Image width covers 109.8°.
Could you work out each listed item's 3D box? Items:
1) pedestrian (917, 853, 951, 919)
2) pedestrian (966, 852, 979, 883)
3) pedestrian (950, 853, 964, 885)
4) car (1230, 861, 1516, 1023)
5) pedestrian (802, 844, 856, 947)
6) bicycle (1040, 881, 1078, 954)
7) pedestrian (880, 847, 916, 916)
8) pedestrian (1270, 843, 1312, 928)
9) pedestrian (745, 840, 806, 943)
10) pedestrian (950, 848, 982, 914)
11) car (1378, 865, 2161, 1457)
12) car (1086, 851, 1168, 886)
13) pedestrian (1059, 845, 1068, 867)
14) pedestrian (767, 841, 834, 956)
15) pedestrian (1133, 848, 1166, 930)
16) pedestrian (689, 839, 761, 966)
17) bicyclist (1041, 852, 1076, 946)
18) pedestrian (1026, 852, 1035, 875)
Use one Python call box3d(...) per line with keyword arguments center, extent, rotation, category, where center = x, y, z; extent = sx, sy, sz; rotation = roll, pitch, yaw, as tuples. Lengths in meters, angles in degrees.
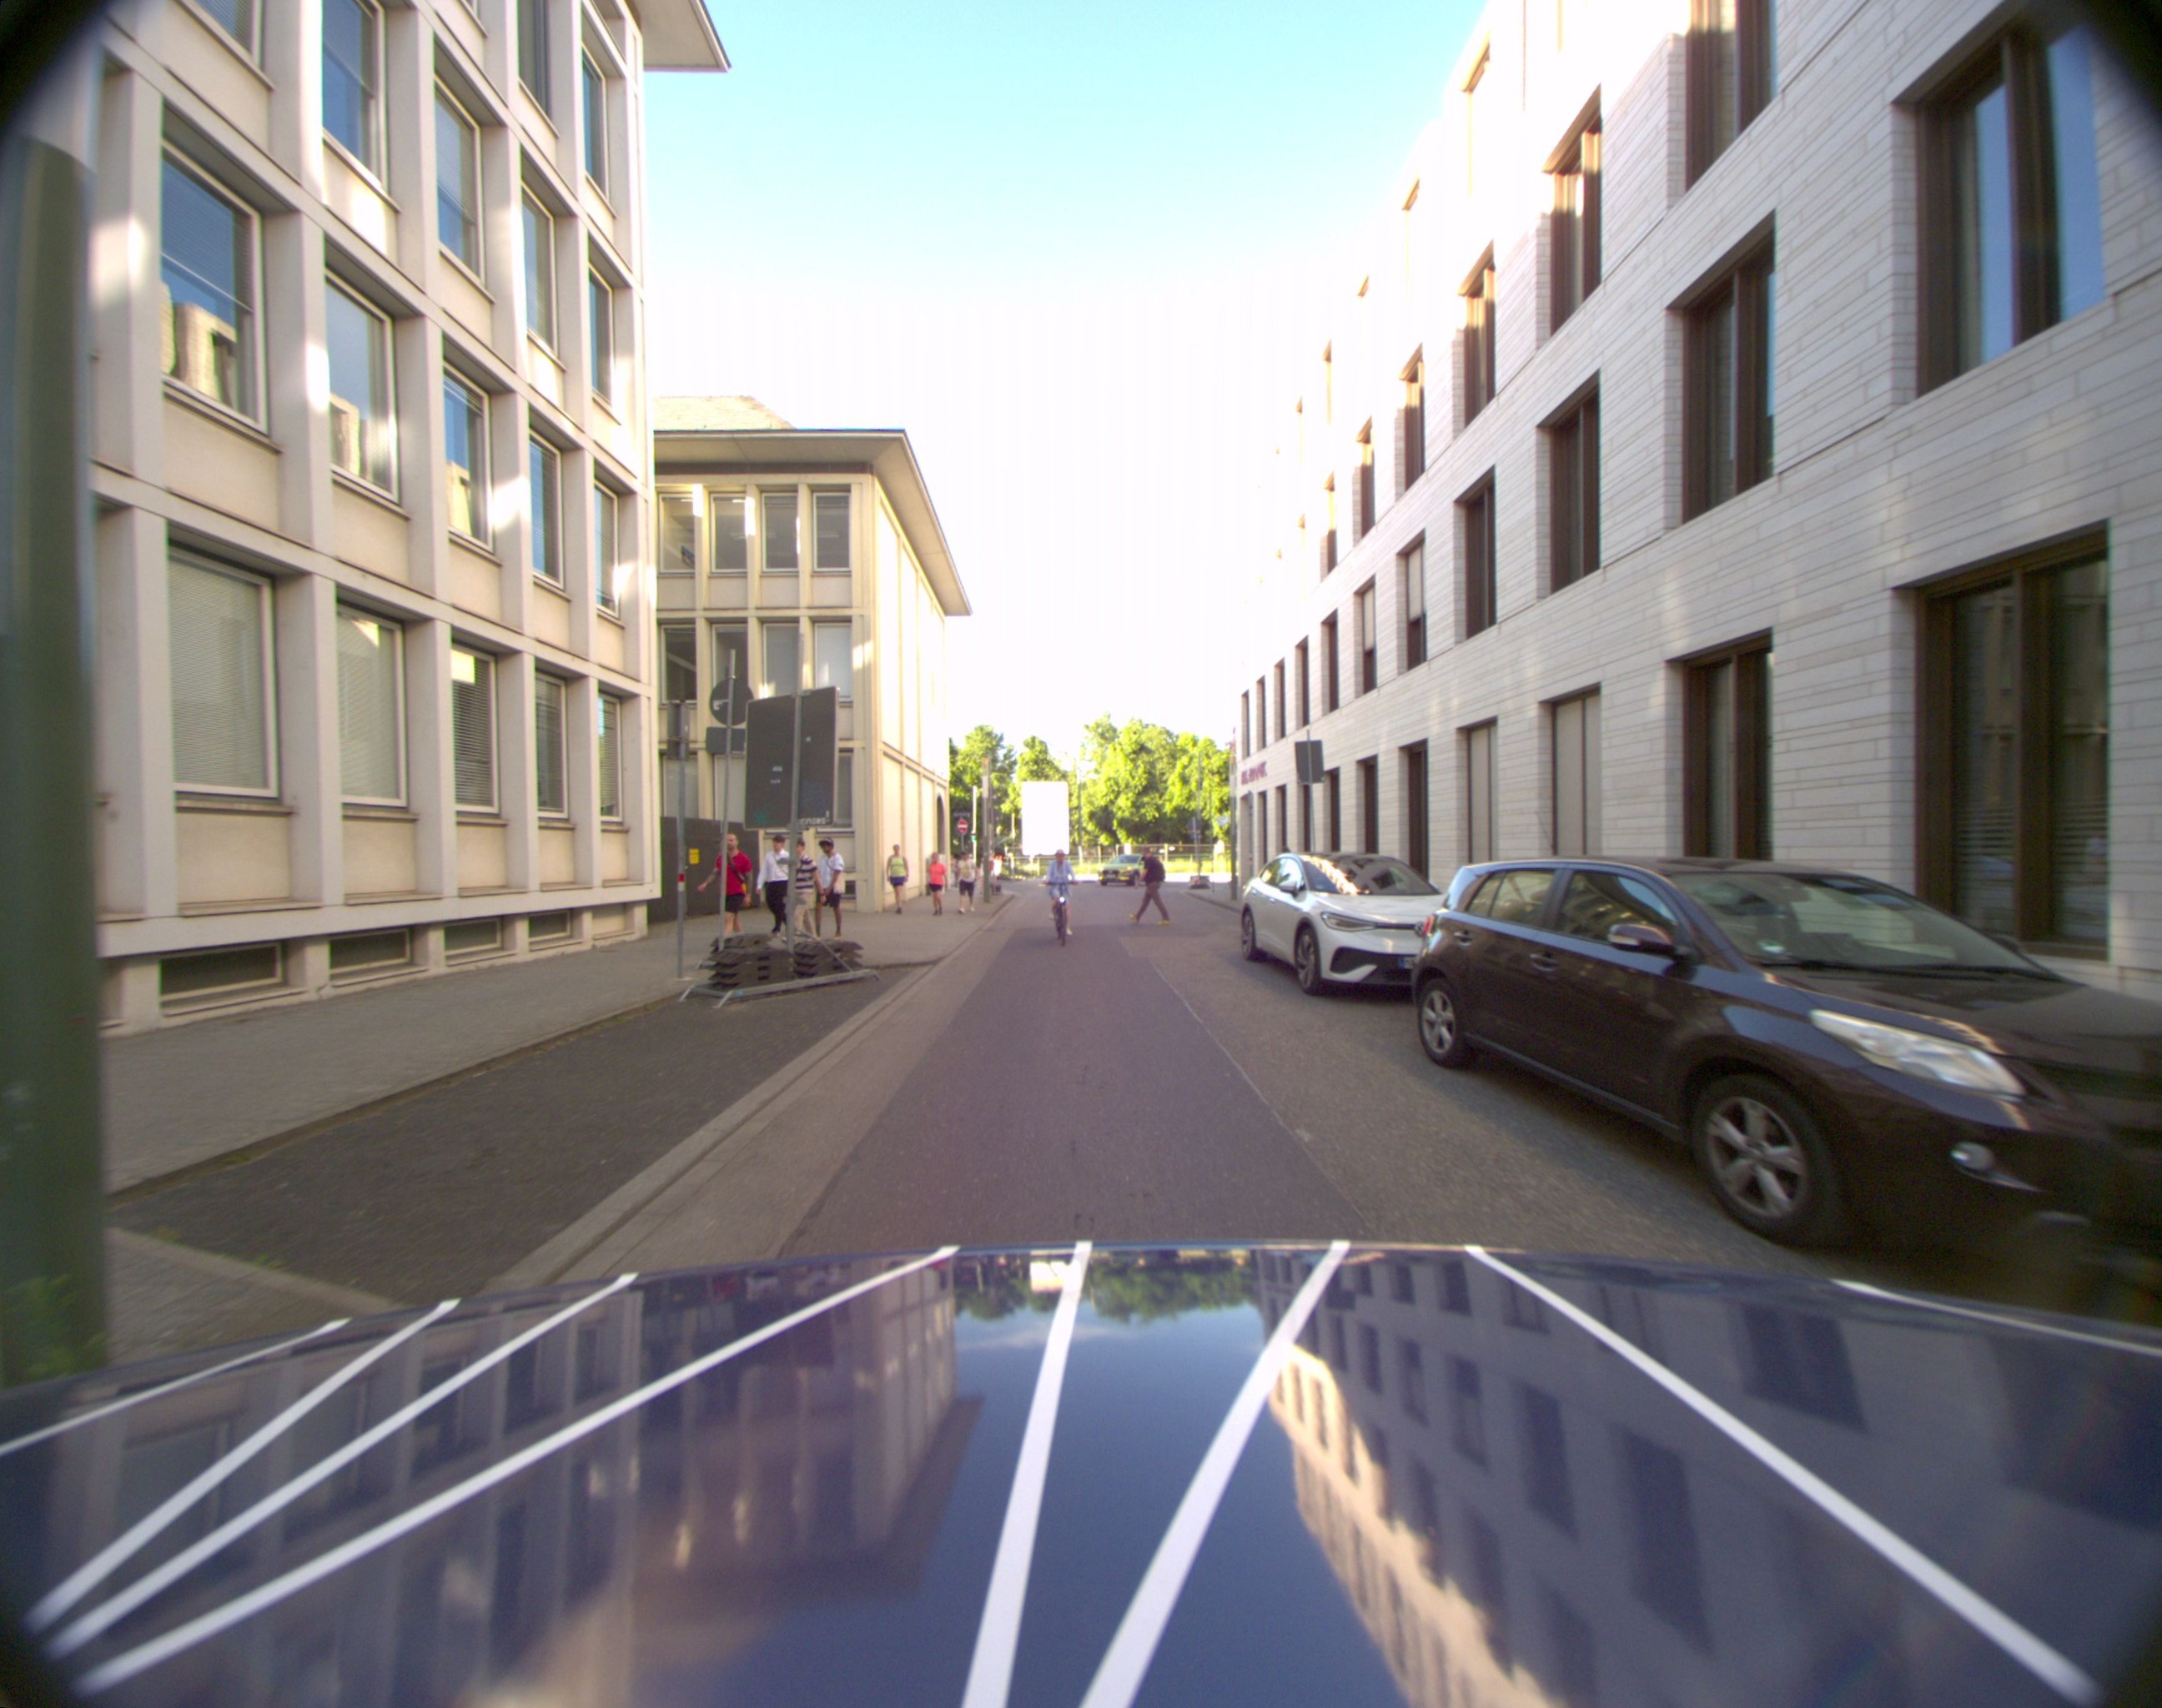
box3d(center=(-3.723, 0.791, 19.276), extent=(0.685, 1.627, 0.693), rotation=(1, 1, 1), category="pedestrian")
box3d(center=(-5.838, 0.704, 40.780), extent=(0.626, 1.604, 0.623), rotation=(-2, 2, -6), category="pedestrian")
box3d(center=(-6.528, 0.776, 39.950), extent=(0.626, 1.632, 0.623), rotation=(-2, 2, -6), category="pedestrian")
box3d(center=(3.284, 0.881, 9.620), extent=(1.827, 1.532, 4.446), rotation=(1, 0, -1), category="car")
box3d(center=(-4.477, 0.715, 13.539), extent=(0.685, 1.768, 0.693), rotation=(1, 1, 1), category="pedestrian")
box3d(center=(-0.405, 1.109, 13.933), extent=(0.595, 1.077, 2.309), rotation=(-2, 1, -2), category="bicycle")
box3d(center=(-4.627, 0.689, 19.267), extent=(0.685, 1.706, 0.693), rotation=(2, 1, 1), category="pedestrian")
box3d(center=(4.574, 0.669, 16.568), extent=(0.645, 1.779, 0.816), rotation=(-2, 2, -1), category="pedestrian")
box3d(center=(-5.530, 0.664, 13.770), extent=(0.685, 1.768, 0.693), rotation=(5, 1, 1), category="pedestrian")
box3d(center=(-3.064, 0.715, 20.288), extent=(0.685, 1.706, 0.693), rotation=(2, 1, 1), category="pedestrian")
box3d(center=(3.458, 0.874, 4.234), extent=(1.827, 1.532, 4.263), rotation=(-1, 0, -2), category="car")
box3d(center=(2.265, 0.654, 36.538), extent=(1.994, 1.451, 4.444), rotation=(-1, 1, 33), category="car")
box3d(center=(-1.438, 0.157, 61.471), extent=(0.623, 1.773, 0.626), rotation=(-2, 2, -7), category="pedestrian")
box3d(center=(-4.527, 0.700, 12.315), extent=(0.685, 1.768, 0.693), rotation=(5, 1, 1), category="pedestrian")
box3d(center=(1.524, 0.761, 16.967), extent=(0.643, 1.779, 0.575), rotation=(2, 2, -1), category="pedestrian")
box3d(center=(-5.179, 0.689, 11.081), extent=(0.685, 1.768, 0.593), rotation=(3, 1, 1), category="pedestrian")
box3d(center=(-0.407, 0.813, 13.937), extent=(0.586, 1.679, 0.538), rotation=(-2, 2, -2), category="bicyclist")
box3d(center=(-3.979, 0.707, 59.687), extent=(0.626, 1.773, 0.623), rotation=(-2, 2, -6), category="pedestrian")
